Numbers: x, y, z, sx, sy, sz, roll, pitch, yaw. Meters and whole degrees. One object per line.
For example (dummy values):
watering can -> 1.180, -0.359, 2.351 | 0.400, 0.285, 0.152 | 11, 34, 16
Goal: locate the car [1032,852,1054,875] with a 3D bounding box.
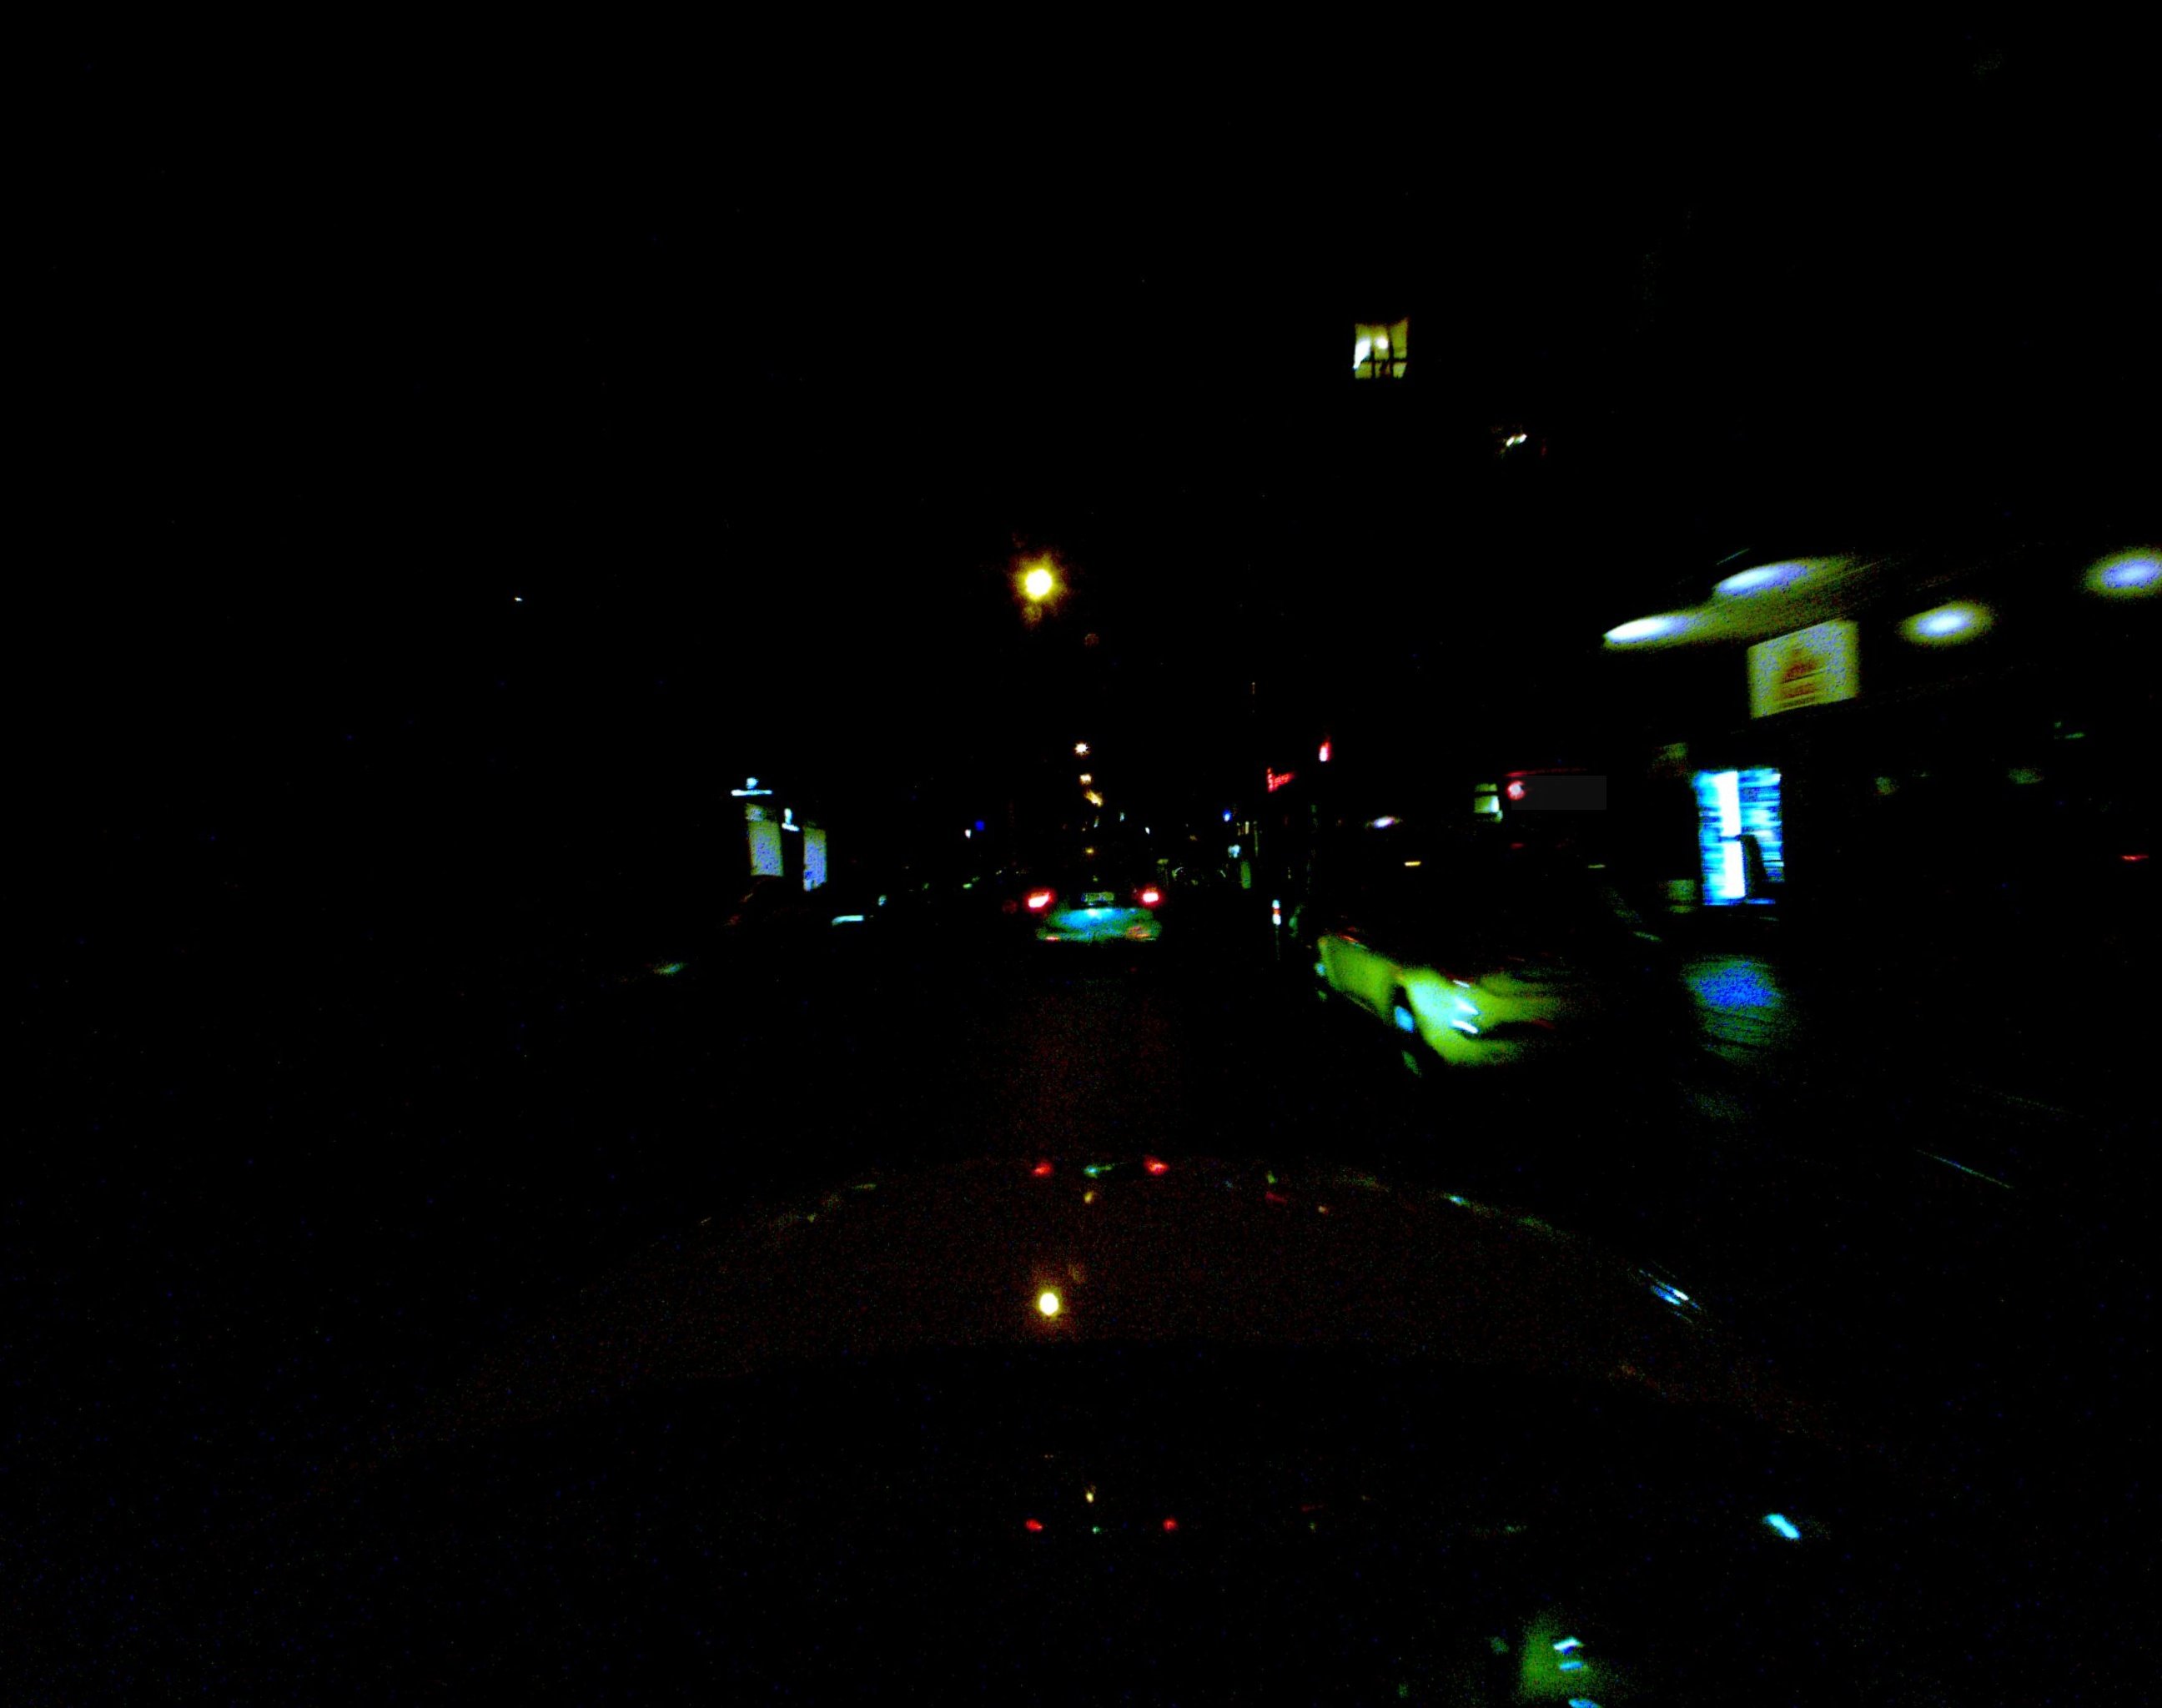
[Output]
car -> -3.401, 0.854, 73.564 | 1.743, 2.014, 4.000 | 0, 0, 1

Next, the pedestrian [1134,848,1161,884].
pedestrian -> 3.274, 0.582, 40.059 | 1.222, 1.675, 0.697 | -3, -2, 1

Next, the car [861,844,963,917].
car -> -4.603, 0.682, 22.794 | 1.987, 1.862, 4.093 | 0, 0, 0

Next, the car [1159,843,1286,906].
car -> 5.060, 0.733, 29.344 | 3.994, 2.014, 1.989 | -3, -2, -15

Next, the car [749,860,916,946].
car -> -4.649, 0.849, 15.901 | 1.987, 1.449, 4.000 | 0, 0, 0

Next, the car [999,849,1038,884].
car -> -3.755, 0.746, 49.396 | 1.986, 2.014, 4.000 | 0, 0, 1

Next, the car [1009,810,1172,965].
car -> 0.108, 0.434, 13.139 | 2.116, 1.991, 4.599 | -2, 0, -1

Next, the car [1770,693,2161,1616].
car -> 2.738, 0.495, 0.204 | 1.747, 1.608, 3.989 | -1, -1, 0

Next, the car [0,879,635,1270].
car -> -5.075, 0.959, 5.432 | 1.684, 1.400, 4.319 | -1, 0, 2

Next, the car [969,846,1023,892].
car -> -3.909, 0.654, 37.987 | 1.986, 2.014, 4.001 | 0, 0, 1

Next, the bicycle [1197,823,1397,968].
bicycle -> 2.816, 0.539, 10.778 | 2.305, 1.639, 0.891 | -6, -1, 12

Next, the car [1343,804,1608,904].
car -> 8.485, -0.022, 17.757 | 4.805, 1.922, 2.125 | -1, 0, -7

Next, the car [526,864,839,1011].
car -> -4.871, 0.901, 10.862 | 1.747, 1.449, 4.625 | 0, 0, 2

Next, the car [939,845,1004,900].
car -> -4.253, 0.693, 32.245 | 1.987, 2.014, 4.000 | 0, 0, 0

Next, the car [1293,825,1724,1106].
car -> 2.838, 0.645, 6.279 | 1.586, 1.543, 3.421 | -1, -1, 2

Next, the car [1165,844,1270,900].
car -> 5.565, 0.739, 33.616 | 3.972, 2.014, 2.001 | -3, -2, 1
